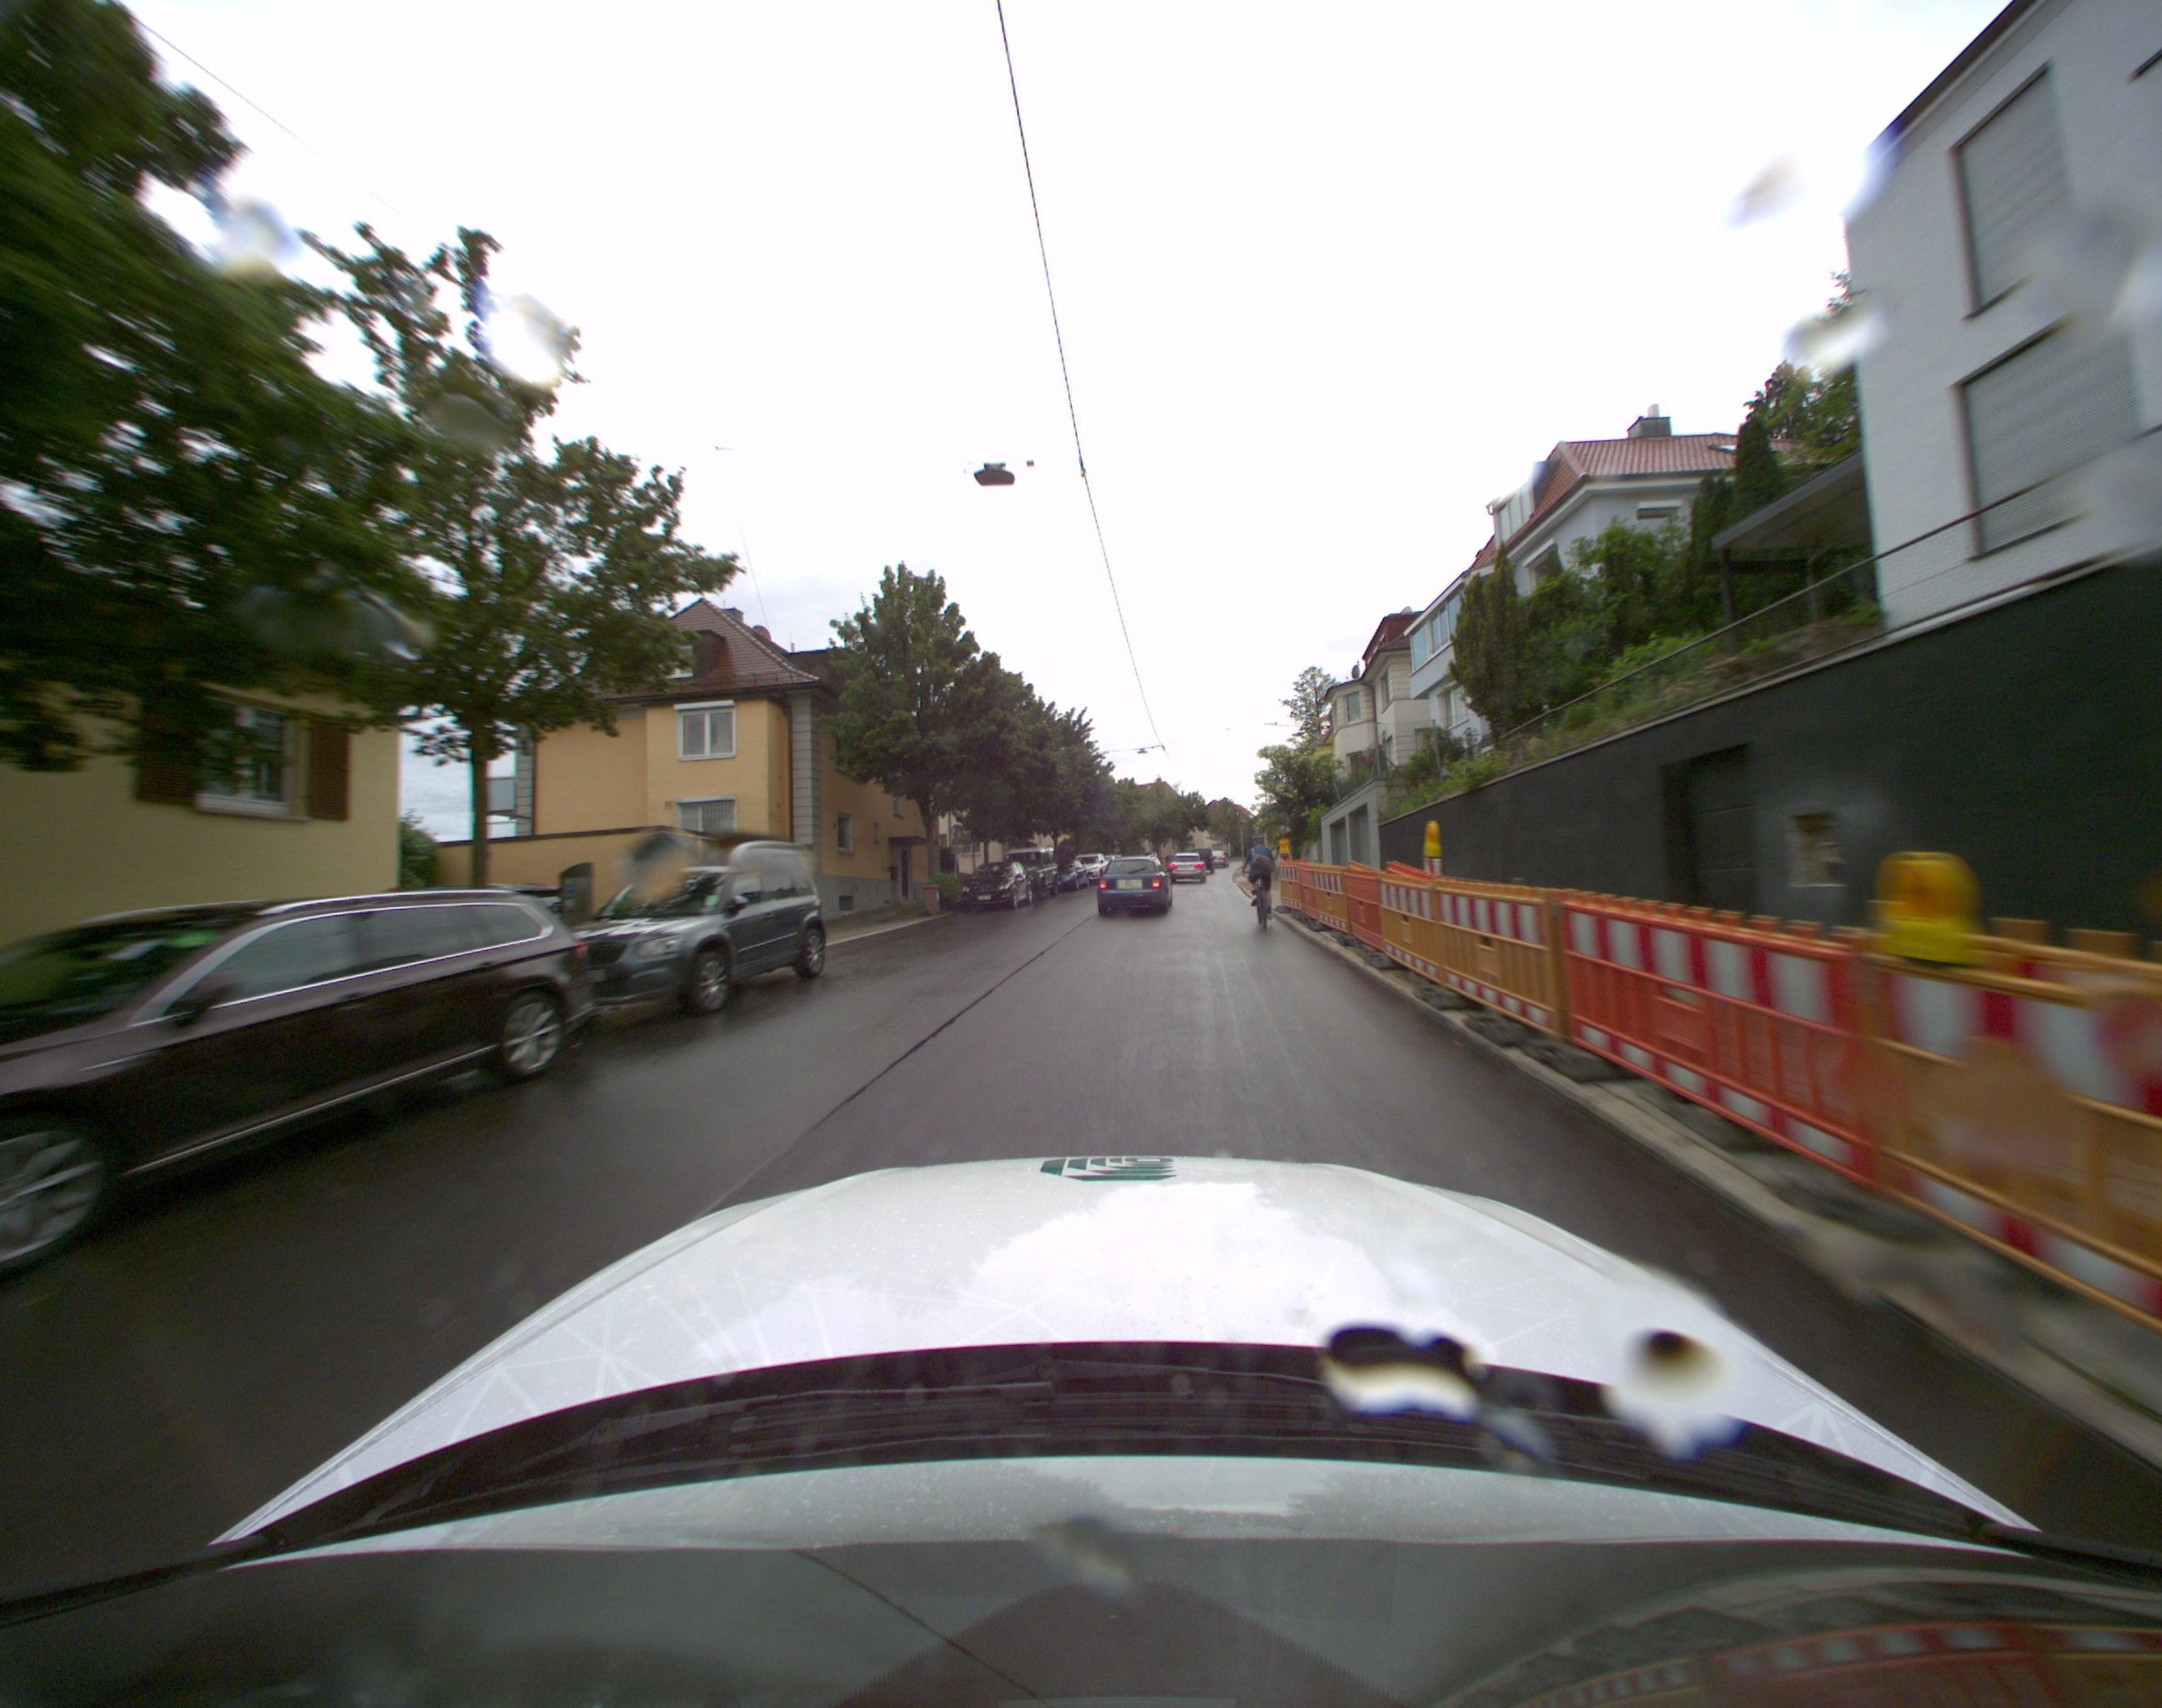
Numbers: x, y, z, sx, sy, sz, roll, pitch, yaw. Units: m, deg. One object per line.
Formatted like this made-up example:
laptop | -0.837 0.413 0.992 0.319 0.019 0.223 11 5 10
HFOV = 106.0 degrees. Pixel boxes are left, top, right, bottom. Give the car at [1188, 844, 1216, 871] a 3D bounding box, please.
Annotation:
car | 8.616 0.235 57.764 1.722 1.768 4.249 0 2 11

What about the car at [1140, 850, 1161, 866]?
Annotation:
car | 6.393 0.359 74.635 1.464 1.295 3.232 0 2 13

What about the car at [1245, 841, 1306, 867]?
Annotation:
car | 13.533 -0.020 56.690 3.958 1.466 1.746 -4 1 14

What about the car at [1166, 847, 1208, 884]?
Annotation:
car | 5.291 0.516 40.462 1.964 1.635 4.246 0 2 8

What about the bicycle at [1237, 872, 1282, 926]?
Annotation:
bicycle | 3.532 0.880 16.241 0.726 0.964 1.674 -1 0 8

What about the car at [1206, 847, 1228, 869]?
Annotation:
car | 11.945 0.334 71.468 1.722 1.768 4.250 0 2 12

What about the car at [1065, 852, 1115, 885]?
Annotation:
car | 0.555 0.779 44.992 1.756 1.627 4.705 -4 -1 12

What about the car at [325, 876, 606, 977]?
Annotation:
car | -11.644 1.344 15.564 4.032 1.646 1.867 -2 -1 6

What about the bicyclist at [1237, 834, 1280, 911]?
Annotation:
bicyclist | 3.518 0.364 16.231 0.721 1.472 0.888 -2 0 7

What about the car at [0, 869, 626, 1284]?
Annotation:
car | -5.032 0.966 4.795 1.760 1.535 4.610 -4 0 4

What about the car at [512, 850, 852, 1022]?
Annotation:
car | -4.567 0.815 10.160 1.759 1.634 4.118 -3 0 7

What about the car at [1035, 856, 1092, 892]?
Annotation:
car | -0.749 0.927 38.982 1.757 1.387 4.647 -4 1 10

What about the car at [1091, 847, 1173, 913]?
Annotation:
car | 1.436 0.608 21.313 1.723 1.466 4.011 0 2 9

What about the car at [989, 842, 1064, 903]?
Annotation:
car | -2.033 0.635 31.920 1.781 2.049 4.793 -6 0 8

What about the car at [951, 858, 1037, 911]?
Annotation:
car | -2.714 0.920 26.441 1.759 1.436 4.355 -4 0 7

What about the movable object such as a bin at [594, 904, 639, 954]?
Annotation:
movable object such as a bin | -10.006 1.605 17.560 0.584 1.023 0.587 -1 0 4

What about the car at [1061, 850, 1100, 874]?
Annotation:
car | -0.029 0.762 76.921 3.189 1.740 1.484 -9 0 12

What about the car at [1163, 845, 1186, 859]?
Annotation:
car | 10.766 -0.252 93.333 1.719 1.466 4.021 0 2 20

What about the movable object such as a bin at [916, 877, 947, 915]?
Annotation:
movable object such as a bin | -4.489 1.257 24.448 0.680 1.011 0.708 -7 0 2
